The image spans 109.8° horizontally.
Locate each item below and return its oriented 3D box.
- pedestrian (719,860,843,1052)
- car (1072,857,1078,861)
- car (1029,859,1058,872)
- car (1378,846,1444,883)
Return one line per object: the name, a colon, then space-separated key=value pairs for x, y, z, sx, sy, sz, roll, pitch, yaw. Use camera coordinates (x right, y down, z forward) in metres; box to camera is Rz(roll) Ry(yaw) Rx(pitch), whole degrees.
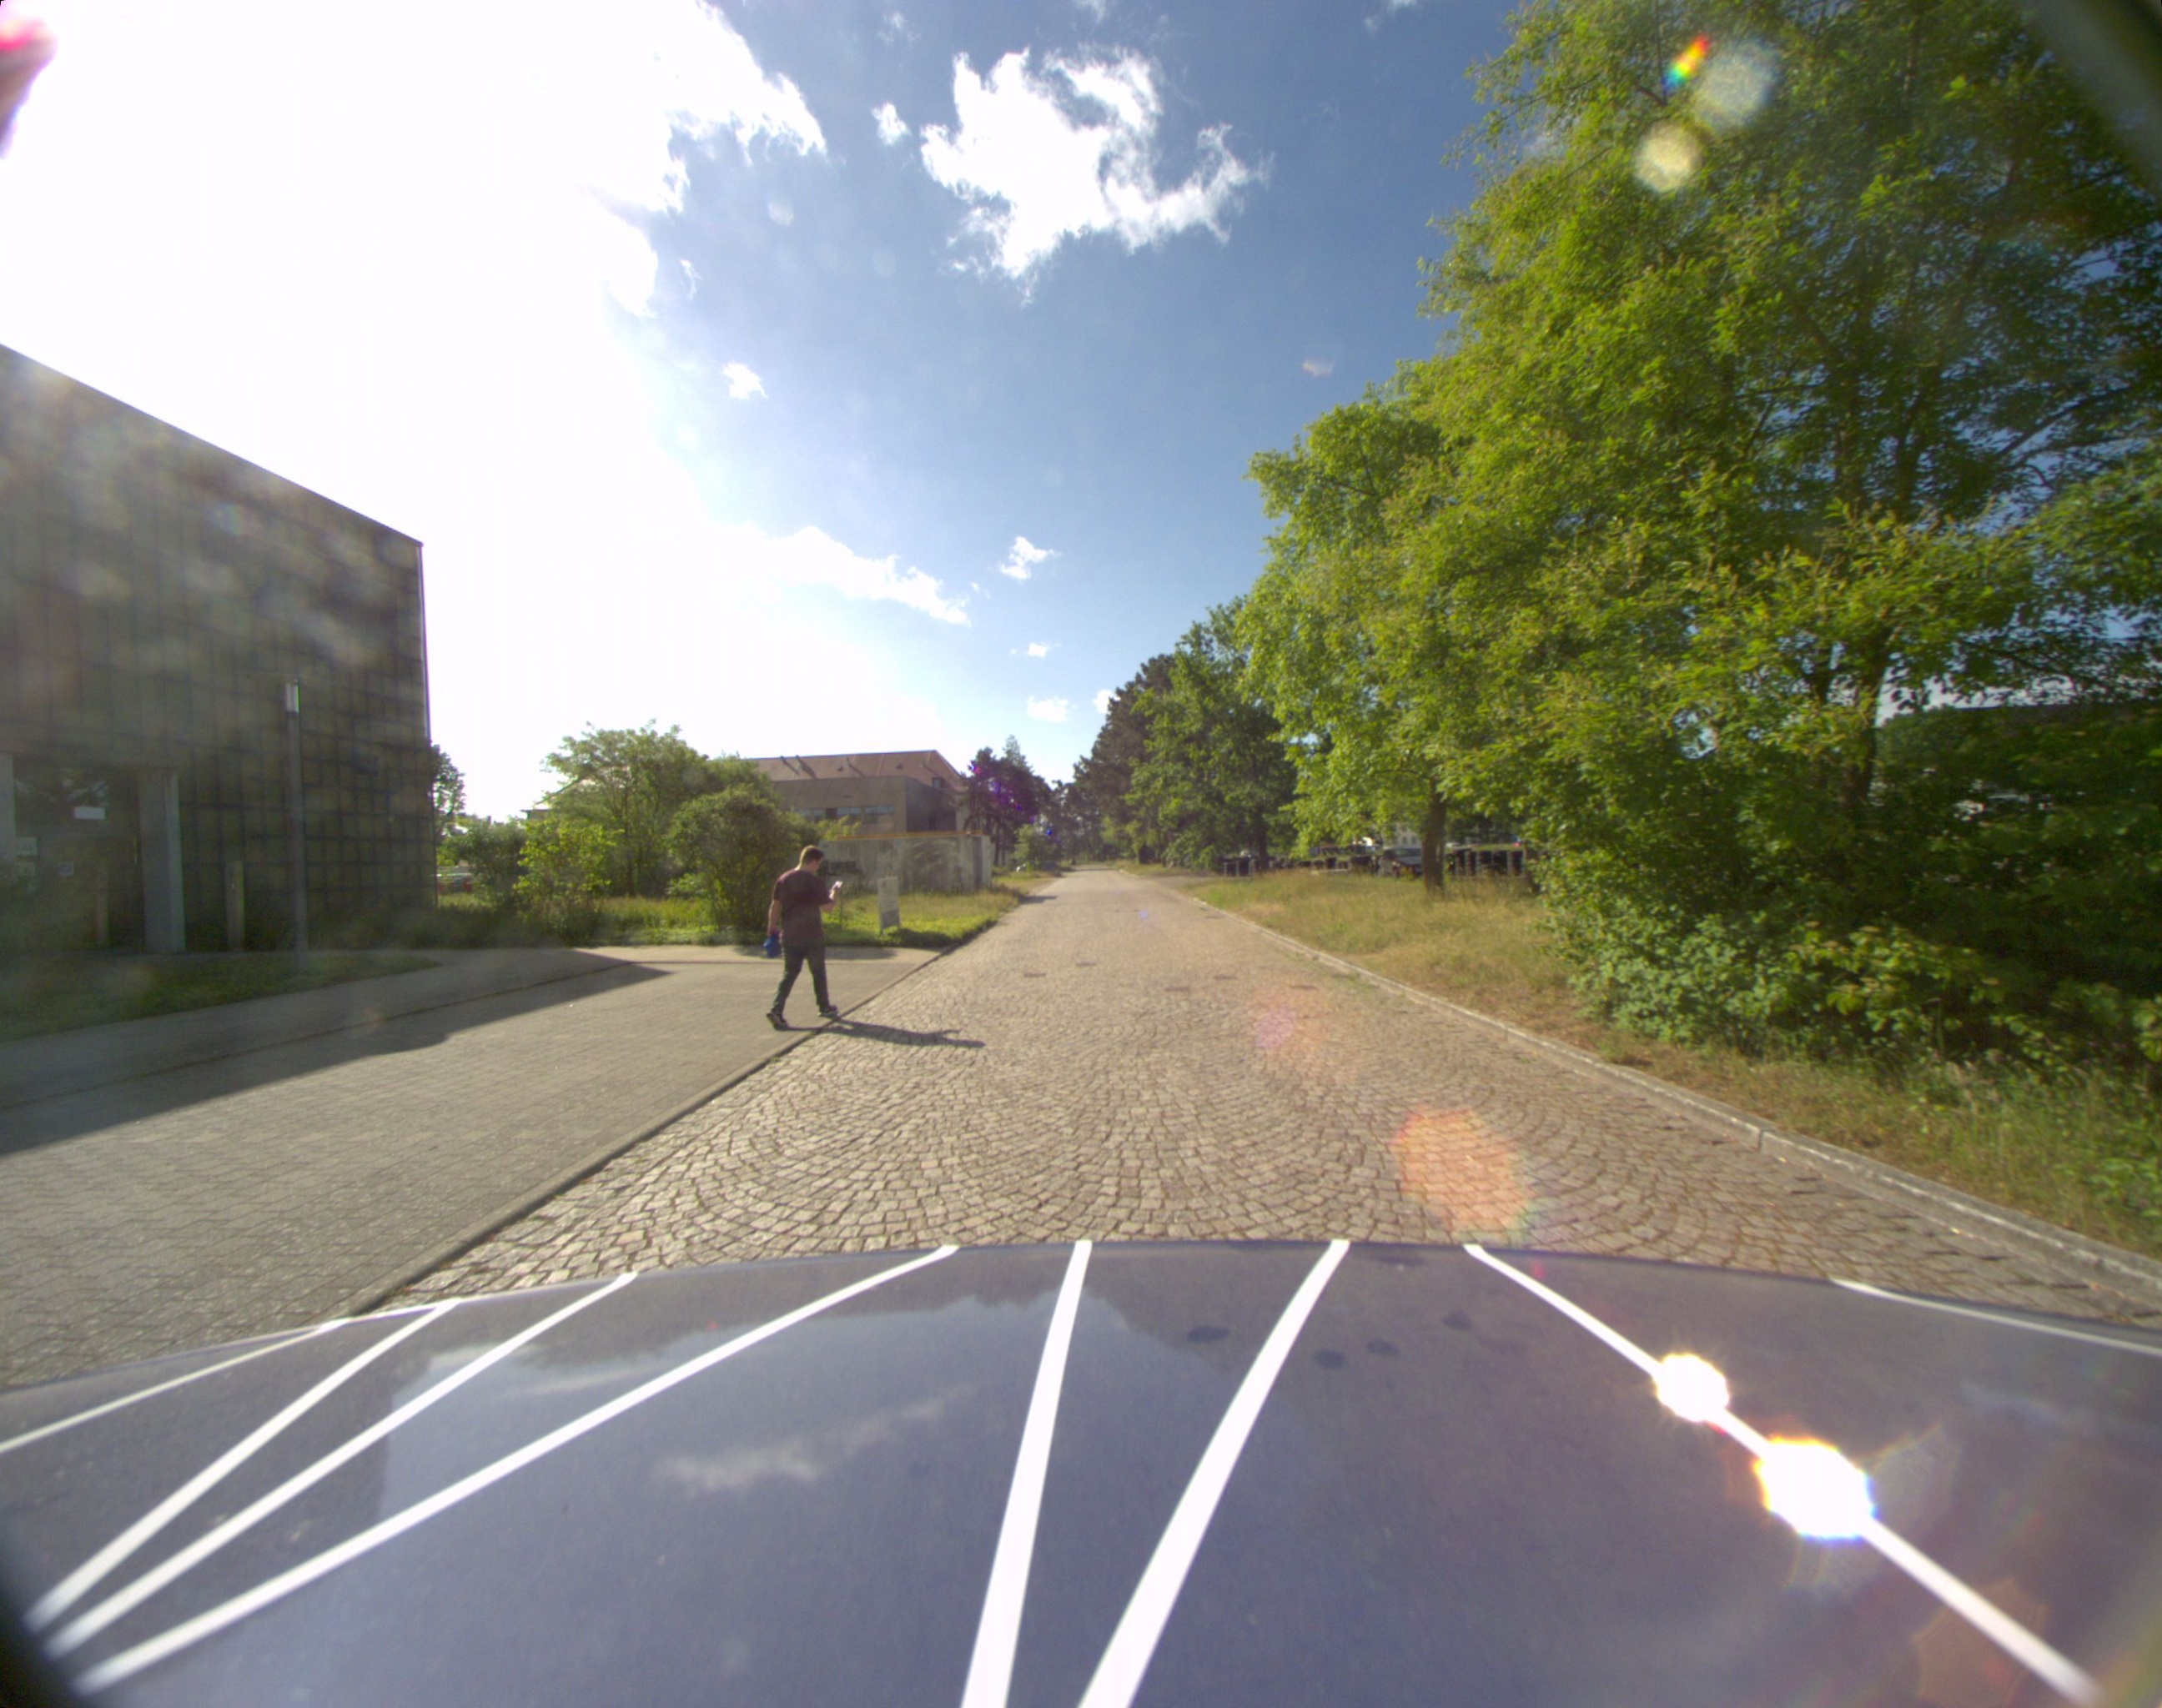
pedestrian: x=-2.953 y=0.948 z=7.594 sx=0.797 sy=1.770 sz=1.068 roll=-1 pitch=0 yaw=-1
car: x=-1.505 y=1.238 z=196.773 sx=1.373 sy=1.092 sz=2.862 roll=-2 pitch=0 yaw=-2
car: x=-4.025 y=1.203 z=81.350 sx=2.911 sy=1.252 sz=1.287 roll=-2 pitch=0 yaw=-8
car: x=13.897 y=0.416 z=32.159 sx=1.544 sy=1.398 sz=3.579 roll=-2 pitch=0 yaw=7
